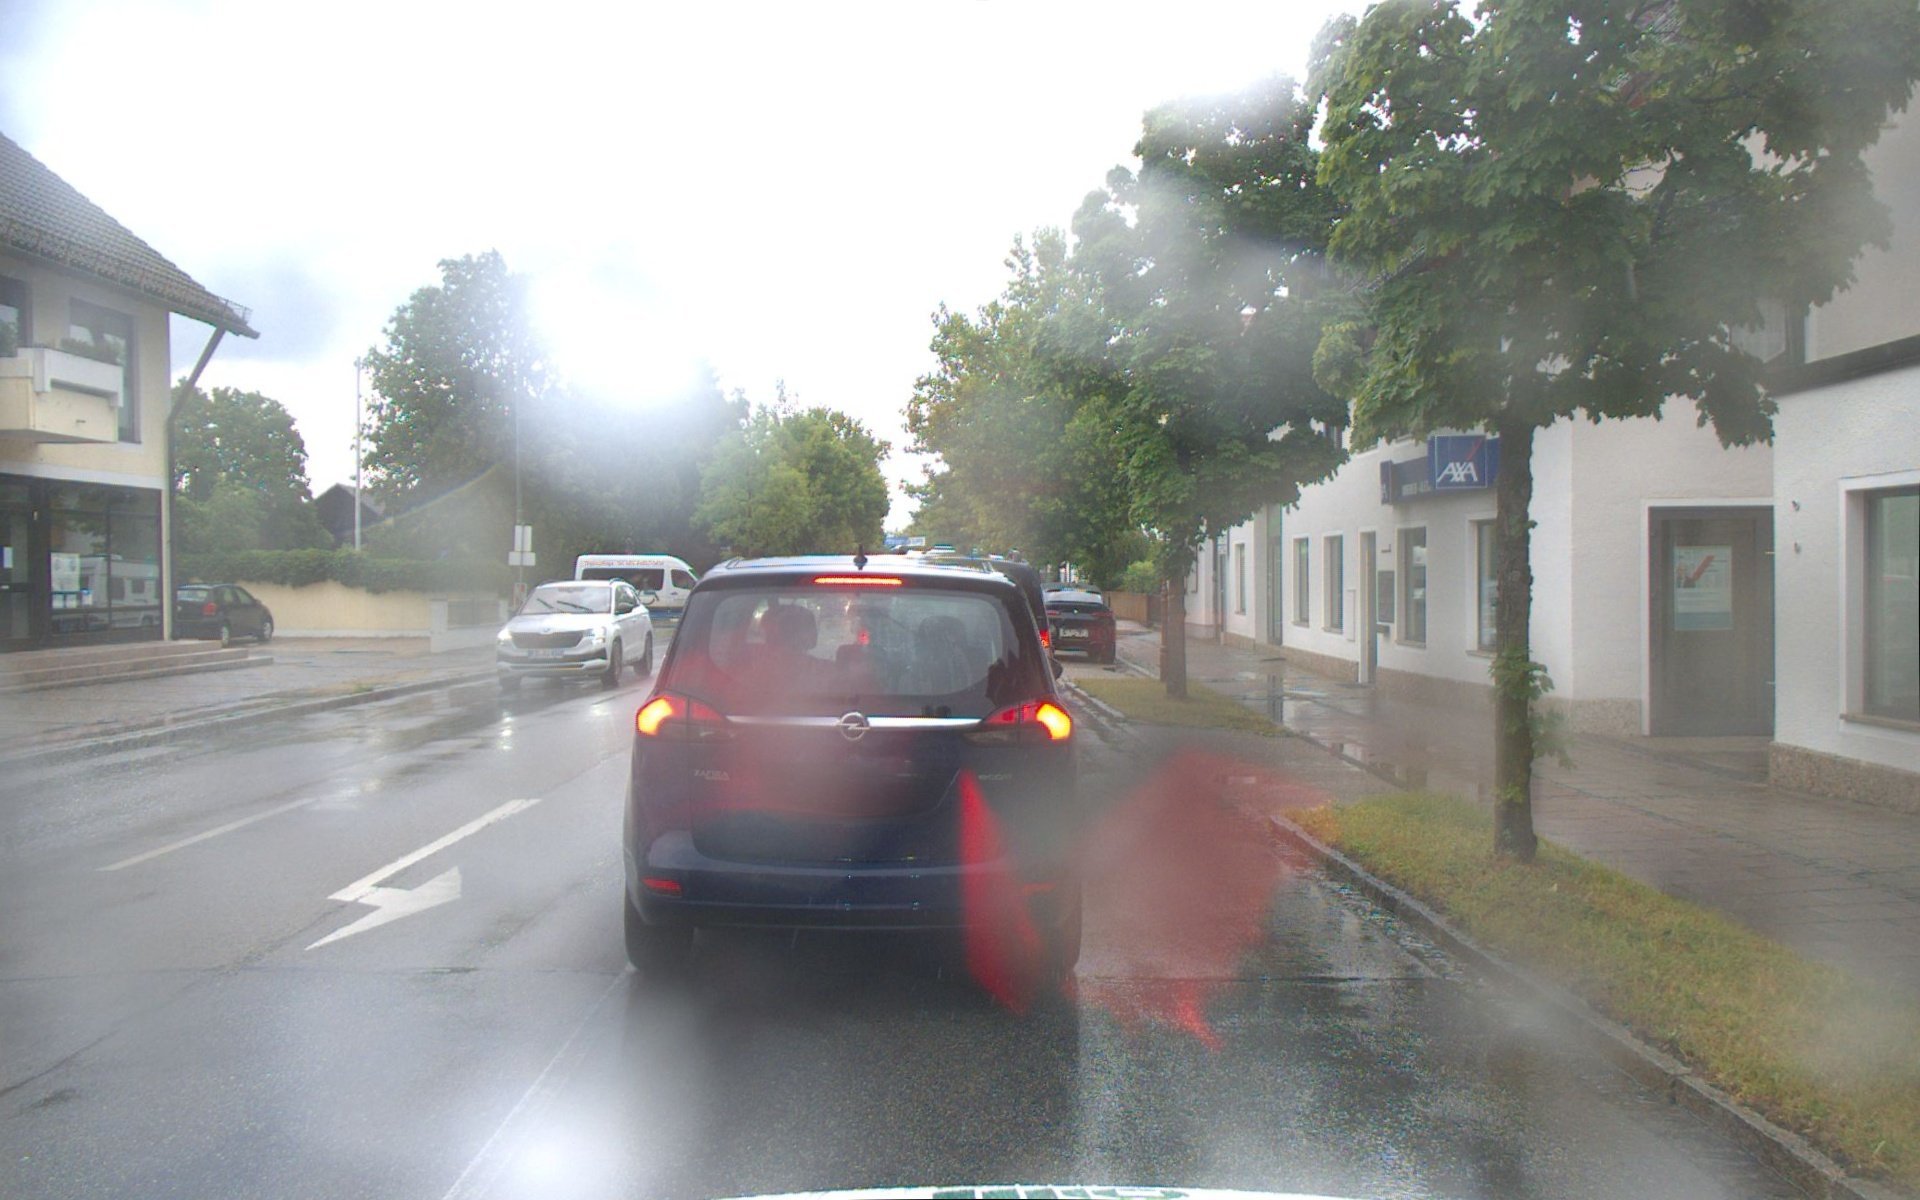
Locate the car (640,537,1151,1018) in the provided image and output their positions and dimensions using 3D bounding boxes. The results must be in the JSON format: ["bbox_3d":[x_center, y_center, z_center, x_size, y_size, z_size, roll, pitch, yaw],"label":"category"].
[{"bbox_3d":[-0.246,0.598,7.489,1.733,1.632,3.662,1,0,-1],"label":"car"}]

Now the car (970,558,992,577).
[{"bbox_3d":[1.691,-2.641,134.093,1.597,1.402,3.622,-1,0,-1],"label":"car"}]

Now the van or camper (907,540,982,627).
[{"bbox_3d":[-0.528,-0.538,54.159,2.312,2.712,5.370,0,0,-1],"label":"van or camper"}]

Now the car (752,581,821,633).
[{"bbox_3d":[-5.493,0.191,52.694,1.716,1.537,4.230,-2,0,0],"label":"car"}]

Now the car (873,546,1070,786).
[{"bbox_3d":[0.066,0.493,14.161,1.470,1.807,3.111,1,0,-1],"label":"car"}]

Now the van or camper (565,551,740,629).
[{"bbox_3d":[-11.263,-0.380,61.003,6.126,2.754,2.099,0,0,-5],"label":"van or camper"}]

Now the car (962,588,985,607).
[{"bbox_3d":[1.032,-0.203,124.637,1.597,1.402,3.622,1,0,-1],"label":"car"}]

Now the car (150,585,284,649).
[{"bbox_3d":[-17.377,0.373,38.856,1.574,1.404,3.508,-1,0,-1],"label":"car"}]

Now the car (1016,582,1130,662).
[{"bbox_3d":[2.393,0.447,35.930,2.075,1.609,3.934,1,0,-2],"label":"car"}]

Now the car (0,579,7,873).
[{"bbox_3d":[-6.125,0.713,6.886,1.927,1.590,4.151,-1,0,-1],"label":"car"}]

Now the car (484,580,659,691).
[{"bbox_3d":[-6.069,0.503,26.319,1.888,1.594,4.125,-1,0,-2],"label":"car"}]
